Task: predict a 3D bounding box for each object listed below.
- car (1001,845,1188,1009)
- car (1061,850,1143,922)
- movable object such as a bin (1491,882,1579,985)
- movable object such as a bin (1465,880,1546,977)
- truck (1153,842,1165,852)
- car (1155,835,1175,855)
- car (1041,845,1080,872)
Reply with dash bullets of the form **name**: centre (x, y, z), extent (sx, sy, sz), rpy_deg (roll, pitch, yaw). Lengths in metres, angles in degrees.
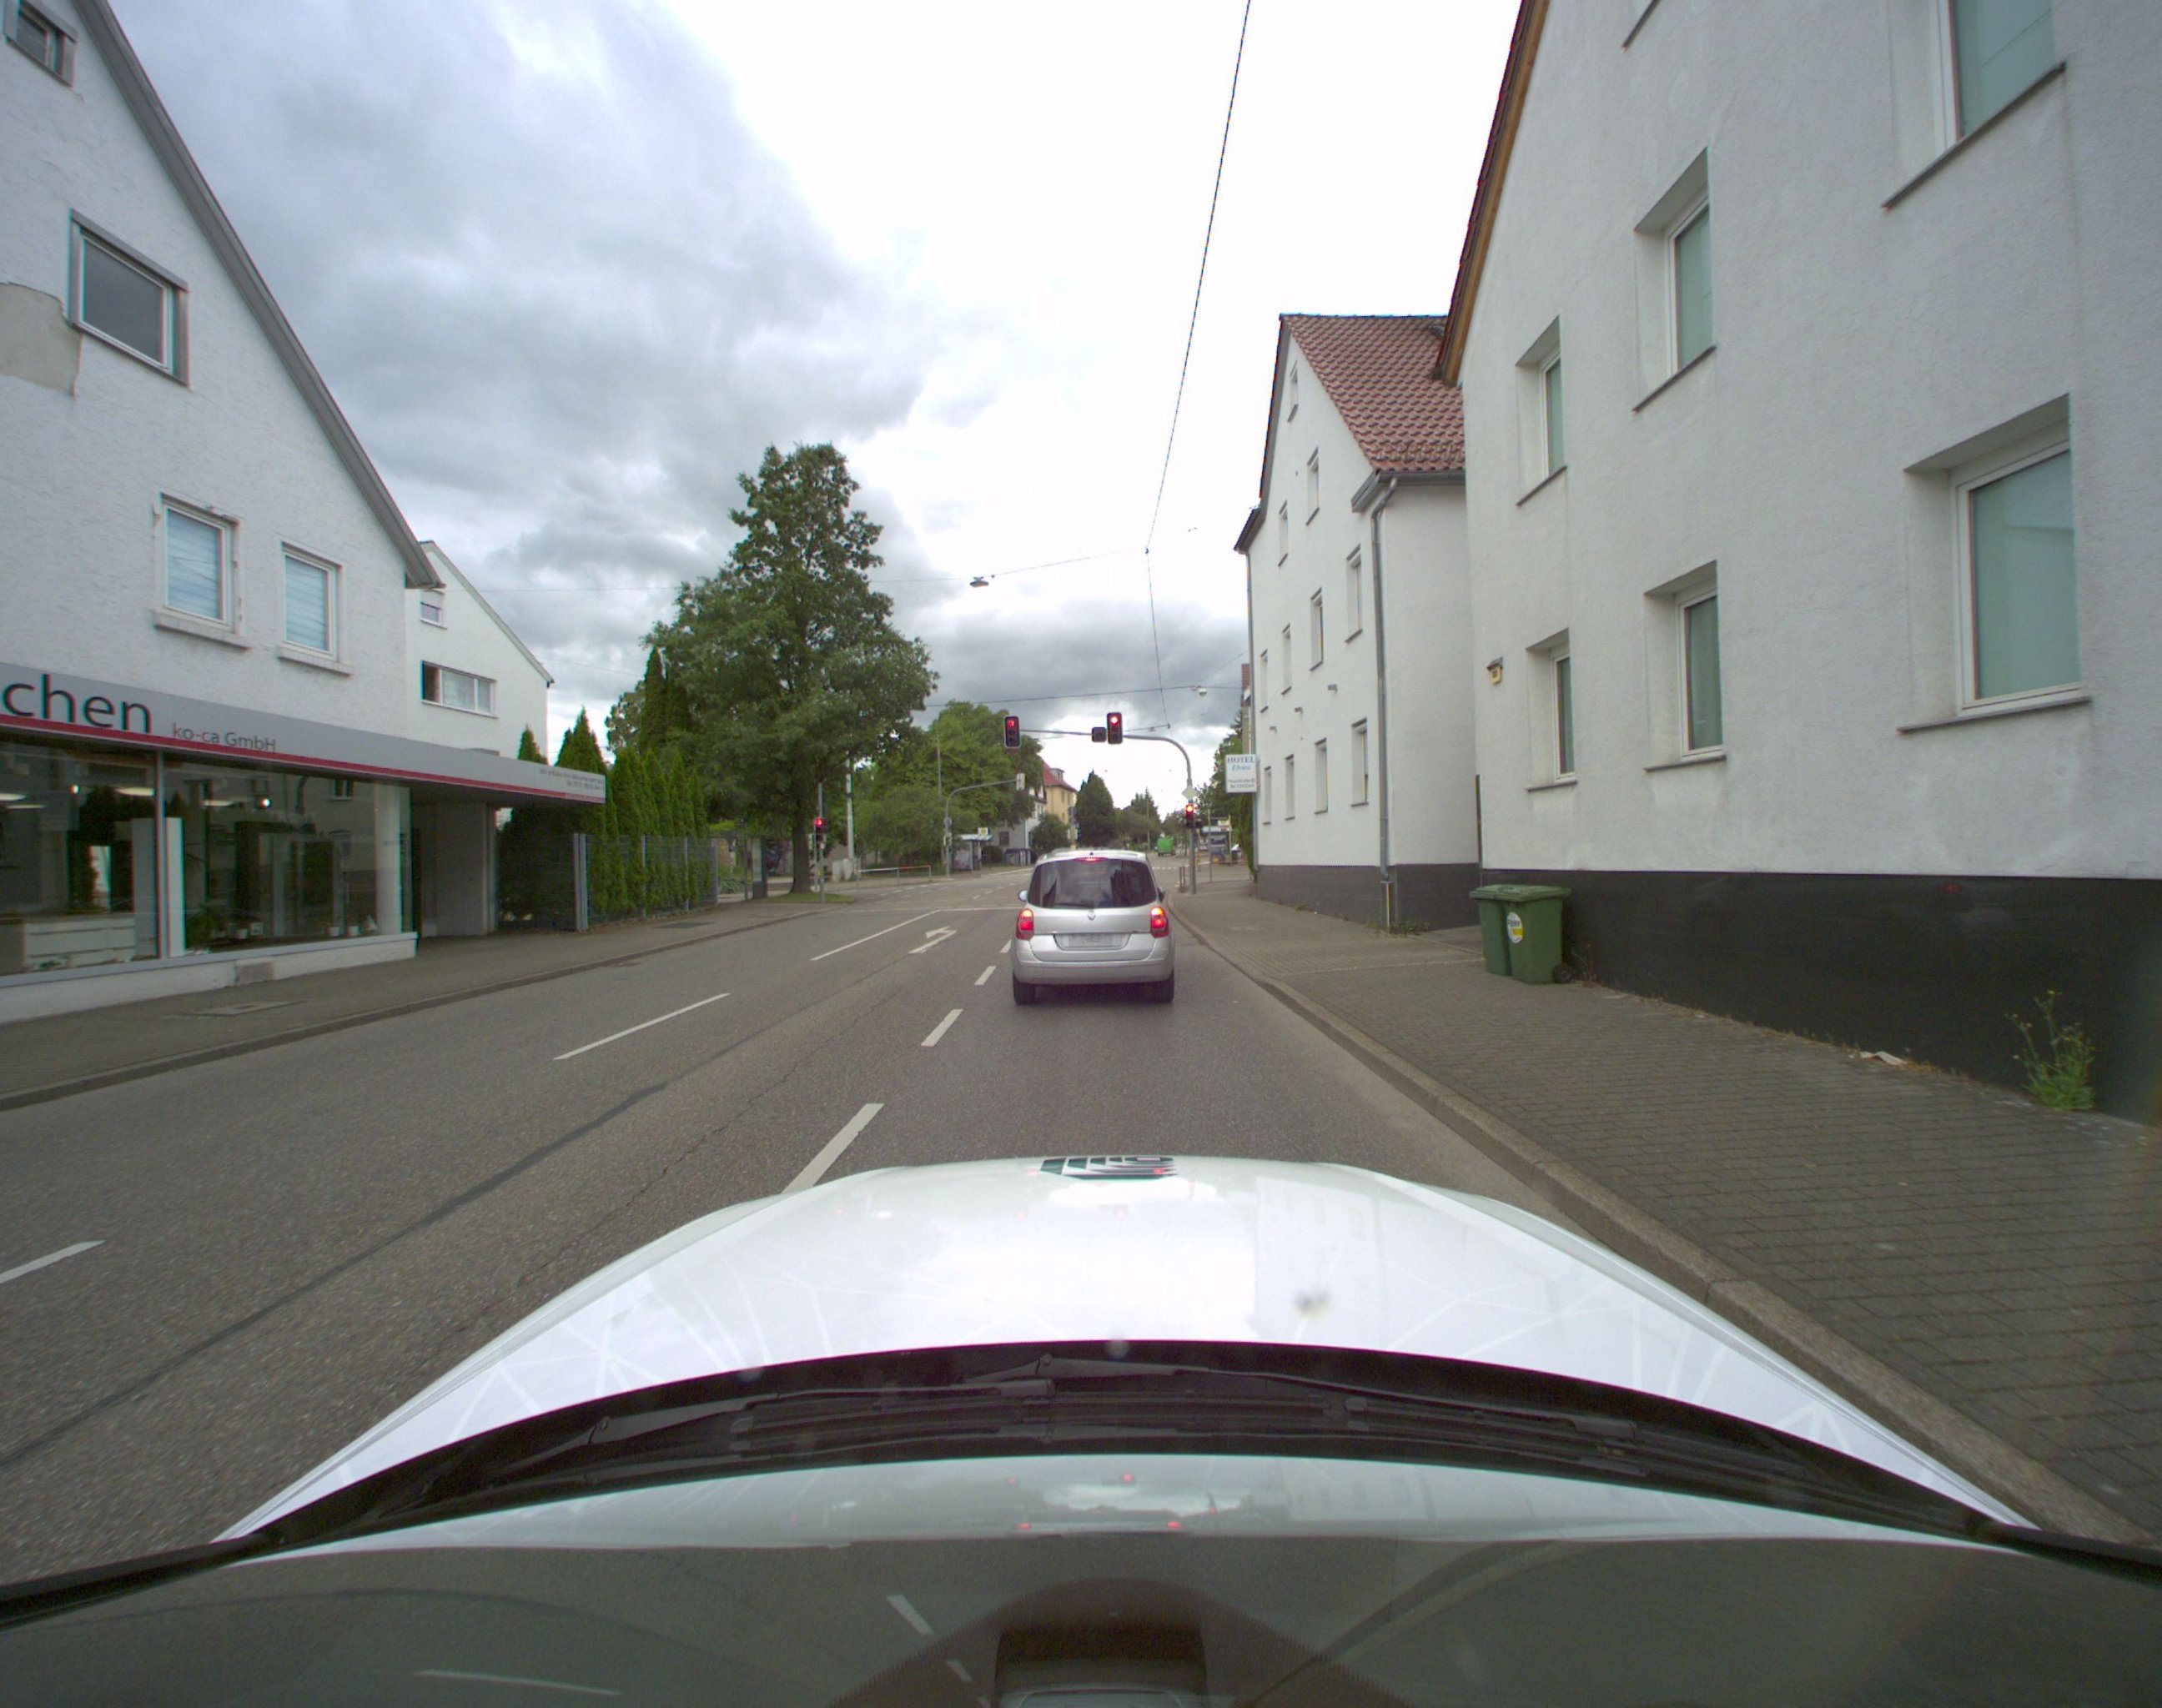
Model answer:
- **car**: centre (0.166, 0.698, 9.680), extent (1.749, 1.530, 4.001), rpy_deg (-1, 0, 1)
- **car**: centre (0.493, 0.698, 19.390), extent (1.749, 1.530, 3.797), rpy_deg (-1, 0, 1)
- **movable object such as a bin**: centre (4.453, 0.765, 8.008), extent (0.538, 0.941, 0.487), rpy_deg (-4, -1, 1)
- **movable object such as a bin**: centre (4.442, 0.767, 8.545), extent (0.538, 0.941, 0.487), rpy_deg (-4, -1, 1)
- **truck**: centre (16.542, -1.532, 172.128), extent (2.088, 2.014, 5.765), rpy_deg (-1, 0, 11)
- **car**: centre (11.027, -1.158, 106.310), extent (2.046, 2.512, 5.612), rpy_deg (-1, 0, 11)
- **car**: centre (-1.476, 0.289, 60.011), extent (1.913, 1.773, 4.013), rpy_deg (-5, -1, 12)
